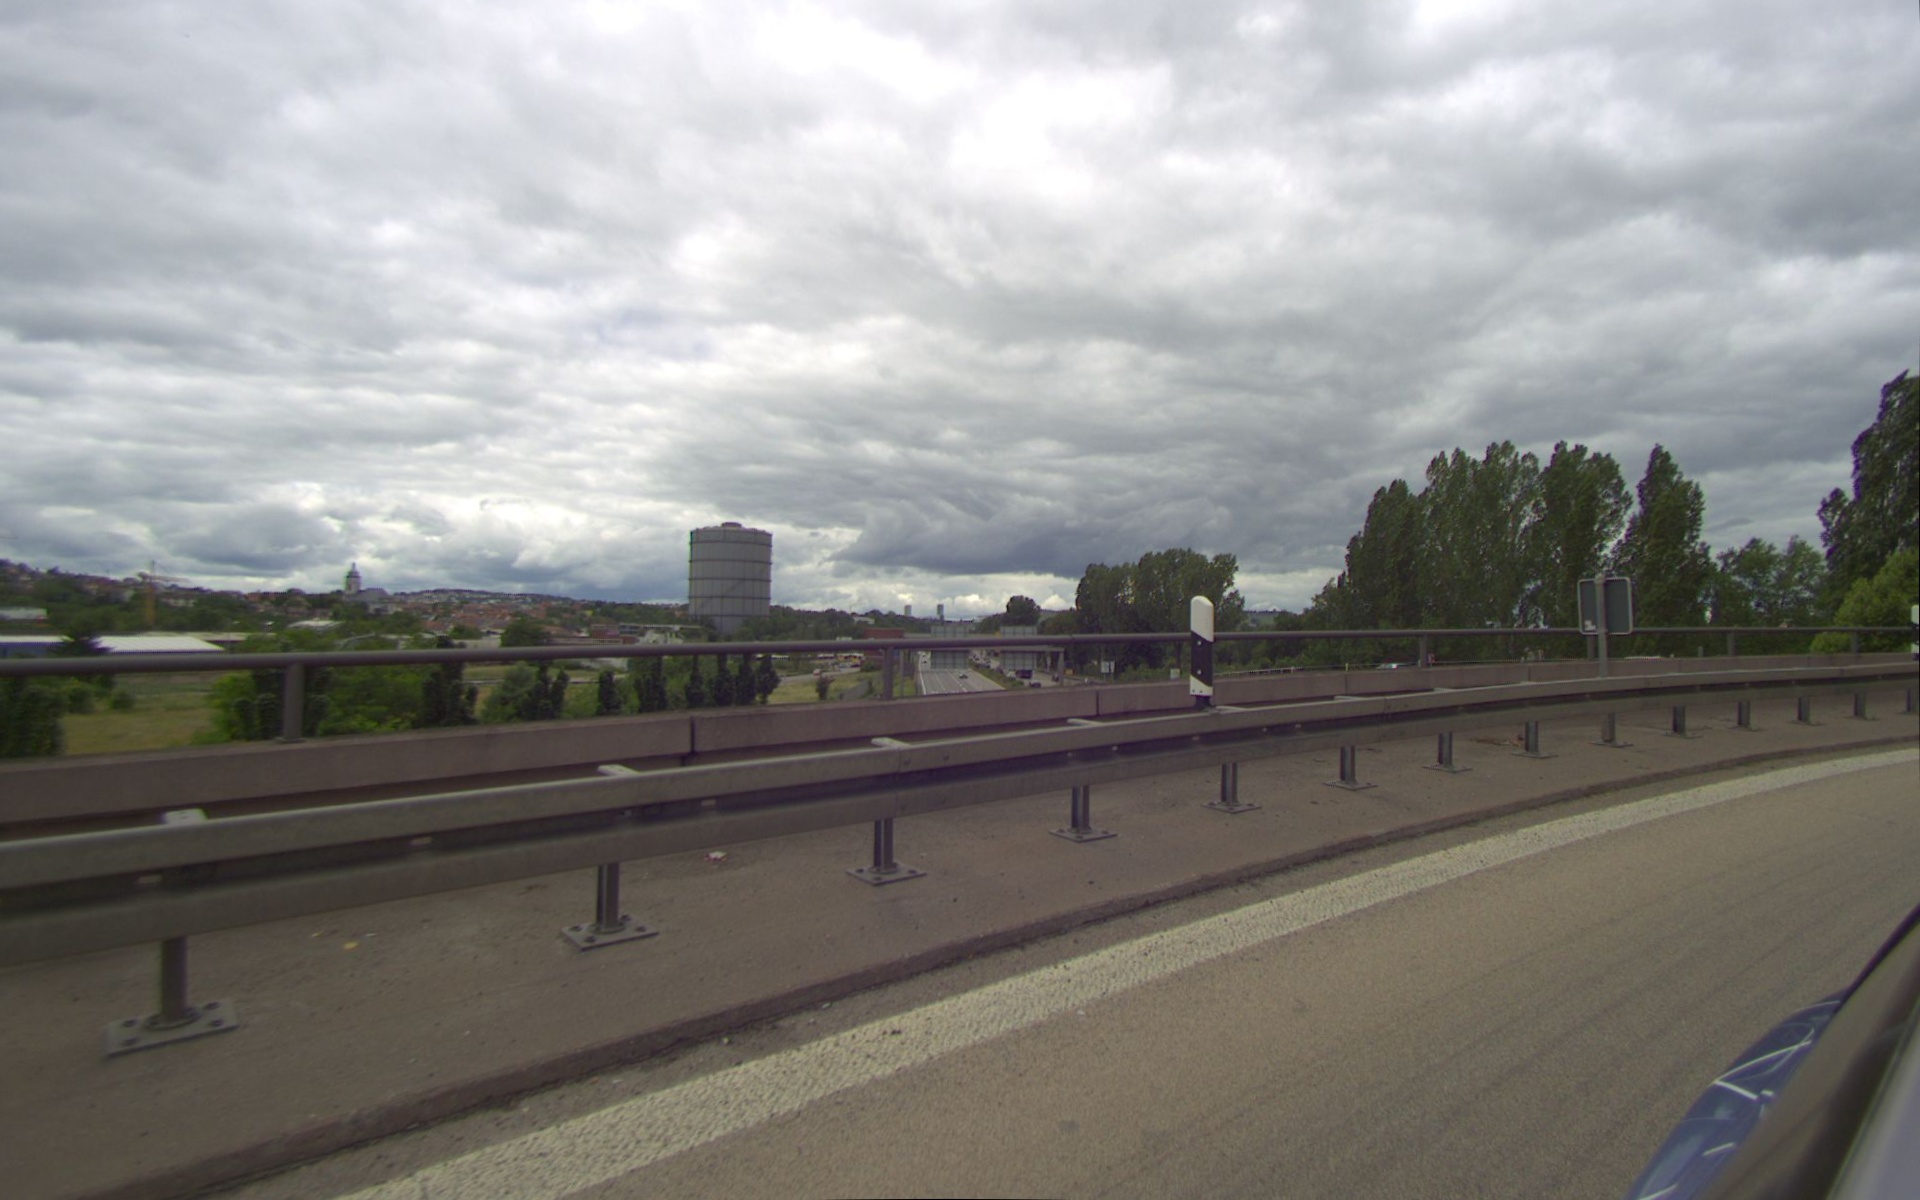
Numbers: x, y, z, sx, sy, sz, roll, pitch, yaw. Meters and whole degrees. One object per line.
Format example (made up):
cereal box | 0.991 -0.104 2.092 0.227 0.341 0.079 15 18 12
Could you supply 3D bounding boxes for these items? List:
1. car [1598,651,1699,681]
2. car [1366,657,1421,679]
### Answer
car | 35.329 3.411 52.061 1.752 1.428 3.940 3 -5 -21
car | 30.640 4.812 71.628 1.702 1.500 4.003 2 -4 -8
